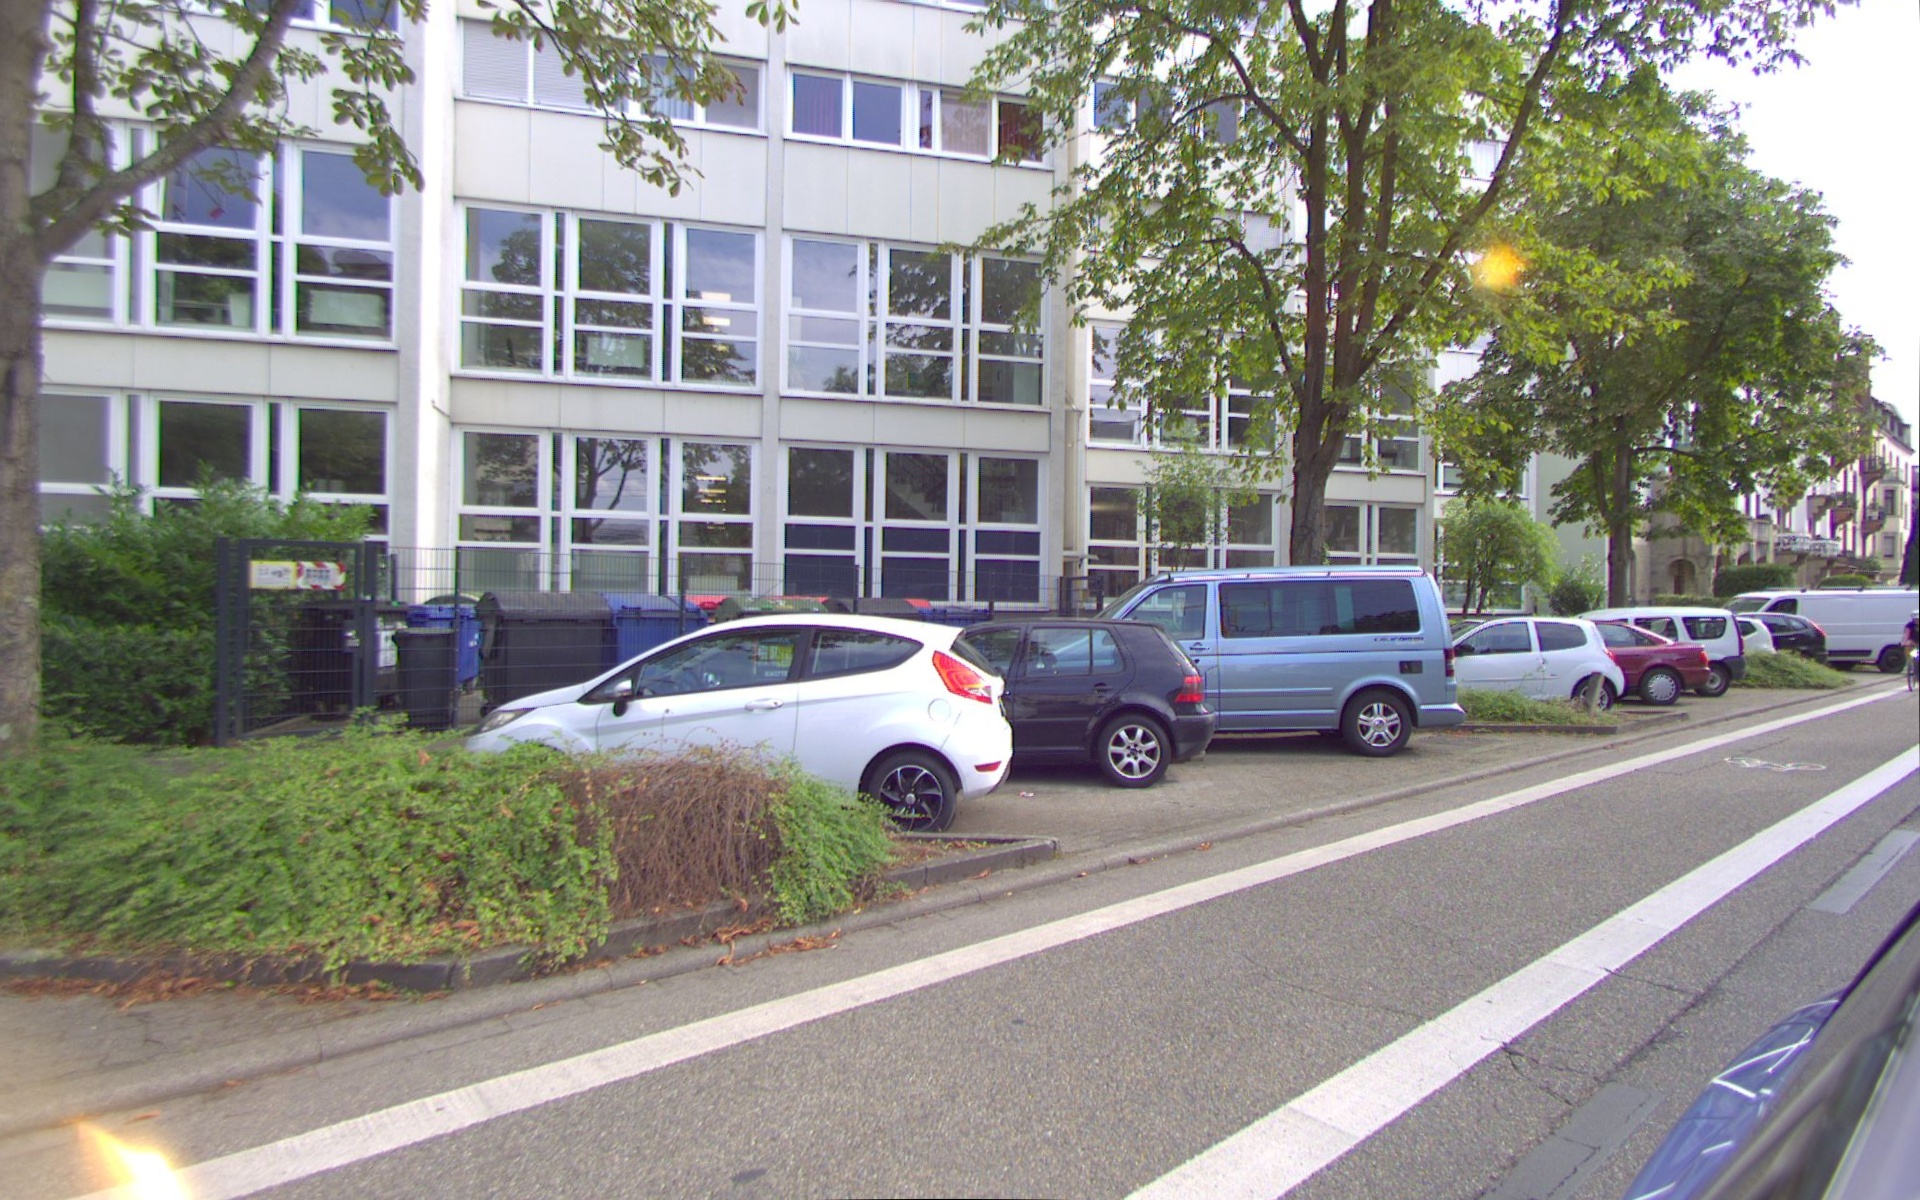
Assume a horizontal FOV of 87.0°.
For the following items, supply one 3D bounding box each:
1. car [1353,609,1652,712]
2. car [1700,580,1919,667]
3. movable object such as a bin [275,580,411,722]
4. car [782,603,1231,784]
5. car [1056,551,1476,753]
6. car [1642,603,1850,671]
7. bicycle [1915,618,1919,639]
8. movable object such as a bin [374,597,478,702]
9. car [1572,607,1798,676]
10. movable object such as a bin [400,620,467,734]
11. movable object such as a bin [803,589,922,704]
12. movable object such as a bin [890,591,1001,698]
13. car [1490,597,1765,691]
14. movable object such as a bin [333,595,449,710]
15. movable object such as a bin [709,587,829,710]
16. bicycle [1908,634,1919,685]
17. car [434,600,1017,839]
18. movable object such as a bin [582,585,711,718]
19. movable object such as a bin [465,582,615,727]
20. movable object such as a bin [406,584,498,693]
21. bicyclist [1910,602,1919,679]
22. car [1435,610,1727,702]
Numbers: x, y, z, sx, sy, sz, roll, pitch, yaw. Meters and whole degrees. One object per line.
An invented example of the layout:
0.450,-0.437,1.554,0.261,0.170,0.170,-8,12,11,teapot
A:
8.191,0.882,15.570,3.651,1.451,1.687,0,0,6,car
23.997,0.616,28.181,4.875,2.319,2.379,0,0,8,car
-7.082,0.559,11.697,1.056,1.542,1.121,0,-1,-16,movable object such as a bin
0.406,0.774,9.326,3.759,1.478,1.675,0,0,4,car
3.194,0.523,11.350,4.201,2.040,1.828,0,0,6,car
20.102,0.906,26.031,3.891,1.669,1.687,0,0,6,car
42.385,1.256,44.428,1.635,0.918,0.487,0,1,-40,bicycle
-7.361,0.656,14.014,1.056,1.385,1.037,0,-1,-16,movable object such as a bin
17.051,0.944,23.966,4.020,1.530,1.687,0,0,6,car
-5.450,0.774,10.467,0.561,1.117,0.653,1,-1,-31,movable object such as a bin
-1.381,0.624,14.285,1.299,1.527,1.071,1,-1,-39,movable object such as a bin
-0.223,0.639,15.298,1.299,1.527,1.071,1,-1,-39,movable object such as a bin
12.625,0.799,19.364,4.036,1.689,1.687,0,0,5,car
-7.225,0.645,12.917,1.056,1.385,1.037,0,-1,-16,movable object such as a bin
-2.516,0.610,13.323,1.192,1.527,1.071,1,-1,-39,movable object such as a bin
20.377,1.245,21.175,2.036,0.993,0.639,1,1,-43,bicycle
-1.479,0.745,7.243,3.759,1.478,1.639,0,0,4,car
-3.856,0.595,12.432,1.192,1.527,1.071,1,-1,-39,movable object such as a bin
-4.763,0.582,11.480,1.310,1.527,1.071,1,-1,-39,movable object such as a bin
-7.668,0.570,15.337,1.056,1.582,1.037,0,-1,-16,movable object such as a bin
20.383,0.853,21.169,1.091,1.590,0.639,1,0,-42,bicyclist
10.529,0.910,17.419,3.909,1.451,1.685,0,0,8,car
